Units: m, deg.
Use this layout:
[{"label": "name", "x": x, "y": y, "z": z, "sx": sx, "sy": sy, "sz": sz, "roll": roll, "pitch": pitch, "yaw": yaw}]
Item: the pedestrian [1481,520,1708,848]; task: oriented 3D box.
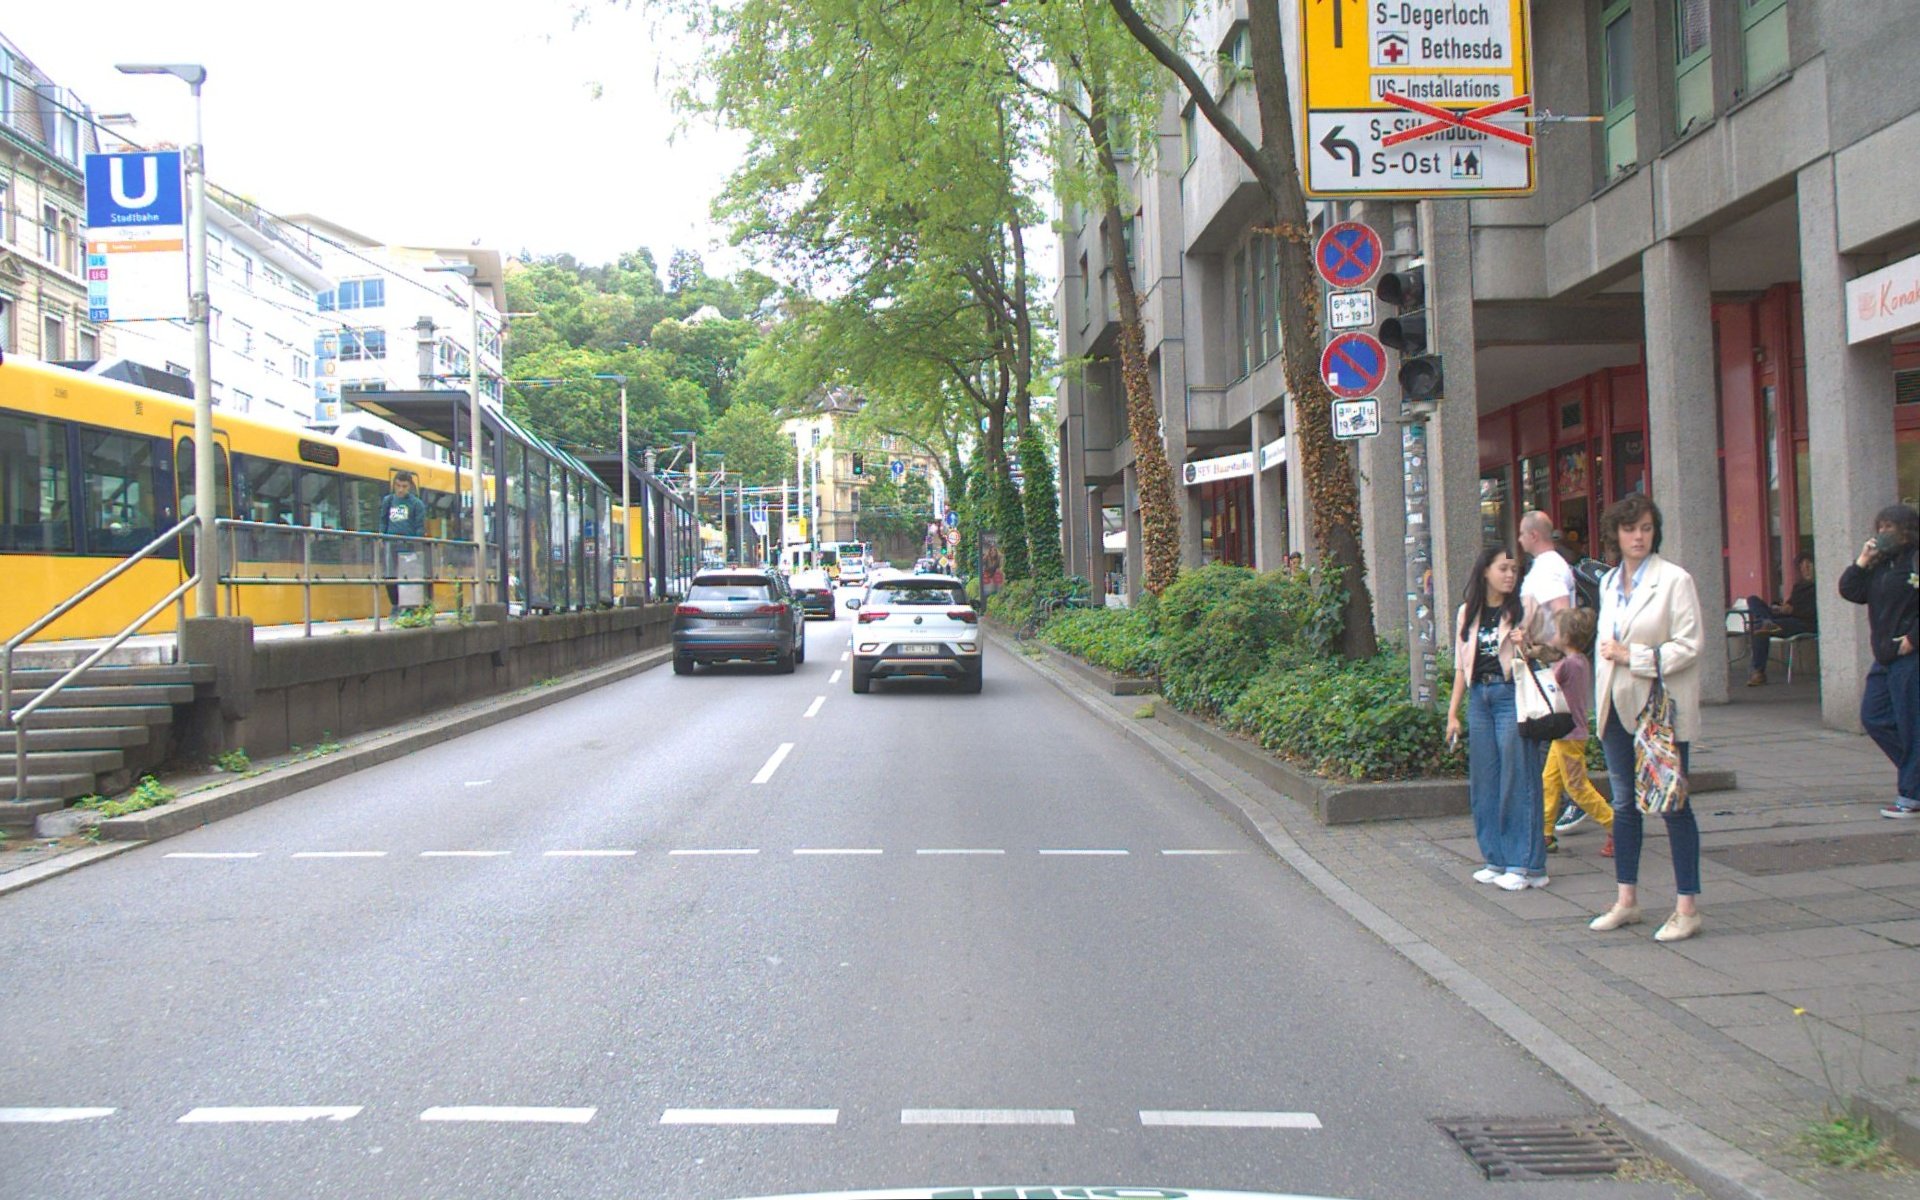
[{"label": "pedestrian", "x": 3.221, "y": 0.413, "z": 8.453, "sx": 0.819, "sy": 1.590, "sz": 0.763, "roll": 0, "pitch": -1, "yaw": -7}]

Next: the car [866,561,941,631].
[{"label": "car", "x": -1.476, "y": -0.069, "z": 42.622, "sx": 1.847, "sy": 1.713, "sz": 4.158, "roll": 0, "pitch": -1, "yaw": -3}]

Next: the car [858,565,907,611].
[{"label": "car", "x": -3.036, "y": -0.449, "z": 65.342, "sx": 1.847, "sy": 1.713, "sz": 4.159, "roll": 0, "pitch": -1, "yaw": -2}]

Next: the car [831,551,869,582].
[{"label": "car", "x": -7.832, "y": -2.393, "z": 118.263, "sx": 2.316, "sy": 2.049, "sz": 5.148, "roll": 0, "pitch": -1, "yaw": 1}]

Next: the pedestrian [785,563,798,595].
[{"label": "pedestrian", "x": -10.747, "y": -1.333, "z": 105.685, "sx": 0.746, "sy": 2.049, "sz": 0.838, "roll": 0, "pitch": -1, "yaw": -2}]

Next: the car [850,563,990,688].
[{"label": "car", "x": -0.617, "y": 0.294, "z": 23.303, "sx": 1.801, "sy": 1.611, "sz": 4.154, "roll": 0, "pitch": 1, "yaw": -3}]

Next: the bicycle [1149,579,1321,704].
[{"label": "bicycle", "x": 2.882, "y": 0.424, "z": 17.357, "sx": 1.677, "sy": 1.204, "sz": 0.447, "roll": -3, "pitch": 0, "yaw": -10}]

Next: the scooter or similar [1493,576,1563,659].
[{"label": "scooter or similar", "x": 8.182, "y": 0.249, "z": 23.848, "sx": 0.837, "sy": 1.129, "sz": 0.765, "roll": -3, "pitch": -1, "yaw": 14}]

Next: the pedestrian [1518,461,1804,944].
[{"label": "pedestrian", "x": 2.838, "y": 0.394, "z": 6.757, "sx": 0.680, "sy": 1.808, "sz": 0.688, "roll": -5, "pitch": 0, "yaw": -7}]

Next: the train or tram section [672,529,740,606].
[{"label": "train or tram section", "x": -12.805, "y": -1.590, "z": 83.830, "sx": 2.757, "sy": 3.730, "sz": 6.747, "roll": 0, "pitch": 0, "yaw": -3}]

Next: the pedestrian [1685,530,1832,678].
[{"label": "pedestrian", "x": 7.959, "y": 0.038, "z": 16.511, "sx": 1.036, "sy": 1.387, "sz": 0.755, "roll": -3, "pitch": 1, "yaw": -9}]

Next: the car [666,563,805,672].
[{"label": "car", "x": -3.640, "y": 0.242, "z": 27.468, "sx": 1.954, "sy": 1.664, "sz": 3.998, "roll": -1, "pitch": 1, "yaw": -3}]

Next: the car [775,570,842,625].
[{"label": "car", "x": -4.962, "y": -0.108, "z": 54.645, "sx": 1.873, "sy": 1.719, "sz": 4.000, "roll": 0, "pitch": 1, "yaw": 0}]

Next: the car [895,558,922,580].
[{"label": "car", "x": -4.331, "y": -2.538, "z": 137.924, "sx": 1.849, "sy": 1.713, "sz": 4.153, "roll": 0, "pitch": -1, "yaw": -8}]

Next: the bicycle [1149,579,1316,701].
[{"label": "bicycle", "x": 2.938, "y": 0.418, "z": 17.844, "sx": 1.677, "sy": 1.204, "sz": 0.447, "roll": -3, "pitch": 0, "yaw": -10}]

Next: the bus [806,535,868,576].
[{"label": "bus", "x": -10.953, "y": -3.832, "z": 145.423, "sx": 3.315, "sy": 3.118, "sz": 13.275, "roll": 0, "pitch": -1, "yaw": -14}]

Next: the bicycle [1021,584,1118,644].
[{"label": "bicycle", "x": 2.236, "y": 0.279, "z": 33.865, "sx": 1.879, "sy": 1.095, "sz": 0.612, "roll": -3, "pitch": 0, "yaw": -6}]

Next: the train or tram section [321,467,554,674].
[{"label": "train or tram section", "x": -9.768, "y": -0.524, "z": 31.587, "sx": 2.778, "sy": 3.582, "sz": 5.749, "roll": 0, "pitch": 0, "yaw": -2}]

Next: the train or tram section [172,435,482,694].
[{"label": "train or tram section", "x": -9.606, "y": -0.498, "z": 25.808, "sx": 2.778, "sy": 3.582, "sz": 5.749, "roll": 0, "pitch": 0, "yaw": -2}]

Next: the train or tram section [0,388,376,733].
[{"label": "train or tram section", "x": -9.420, "y": -0.422, "z": 20.058, "sx": 2.778, "sy": 3.582, "sz": 5.749, "roll": 0, "pitch": 0, "yaw": -2}]

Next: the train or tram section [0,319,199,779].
[{"label": "train or tram section", "x": -9.229, "y": -0.423, "z": 14.296, "sx": 2.778, "sy": 3.743, "sz": 5.749, "roll": 0, "pitch": 0, "yaw": -2}]

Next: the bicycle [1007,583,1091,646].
[{"label": "bicycle", "x": 1.752, "y": 0.276, "z": 32.622, "sx": 1.587, "sy": 1.147, "sz": 0.613, "roll": -3, "pitch": 0, "yaw": 1}]

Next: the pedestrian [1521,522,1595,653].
[{"label": "pedestrian", "x": 8.294, "y": -0.187, "z": 22.954, "sx": 0.746, "sy": 1.752, "sz": 0.677, "roll": -3, "pitch": 2, "yaw": 2}]

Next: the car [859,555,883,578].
[{"label": "car", "x": -7.194, "y": -2.721, "z": 133.363, "sx": 1.847, "sy": 1.713, "sz": 4.159, "roll": 0, "pitch": -1, "yaw": -2}]

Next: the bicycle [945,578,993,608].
[{"label": "bicycle", "x": 0.360, "y": -0.274, "z": 66.046, "sx": 1.841, "sy": 1.157, "sz": 0.808, "roll": 0, "pitch": -1, "yaw": 3}]

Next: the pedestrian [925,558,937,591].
[{"label": "pedestrian", "x": -1.840, "y": -1.621, "z": 104.802, "sx": 0.746, "sy": 2.049, "sz": 0.838, "roll": 0, "pitch": -1, "yaw": 3}]

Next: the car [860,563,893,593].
[{"label": "car", "x": -5.075, "y": -1.338, "z": 101.075, "sx": 1.846, "sy": 1.713, "sz": 4.160, "roll": 0, "pitch": -1, "yaw": 0}]

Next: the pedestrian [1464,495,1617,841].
[{"label": "pedestrian", "x": 3.185, "y": 0.360, "z": 9.128, "sx": 0.508, "sy": 1.820, "sz": 0.763, "roll": 0, "pitch": -1, "yaw": -6}]

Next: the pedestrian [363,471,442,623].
[{"label": "pedestrian", "x": -6.560, "y": -0.612, "z": 19.477, "sx": 0.703, "sy": 1.761, "sz": 0.670, "roll": 0, "pitch": -1, "yaw": -1}]

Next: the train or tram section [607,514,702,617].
[{"label": "train or tram section", "x": -11.605, "y": -1.265, "z": 63.447, "sx": 2.757, "sy": 3.730, "sz": 6.747, "roll": 0, "pitch": 0, "yaw": -3}]

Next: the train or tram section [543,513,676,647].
[{"label": "train or tram section", "x": -10.354, "y": -0.579, "z": 49.503, "sx": 2.756, "sy": 3.730, "sz": 6.749, "roll": 0, "pitch": 0, "yaw": -2}]

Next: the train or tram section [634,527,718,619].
[{"label": "train or tram section", "x": -12.000, "y": -1.108, "z": 70.327, "sx": 2.757, "sy": 3.730, "sz": 6.747, "roll": 0, "pitch": 0, "yaw": -3}]

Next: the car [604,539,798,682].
[{"label": "car", "x": -3.949, "y": 0.181, "z": 26.201, "sx": 2.316, "sy": 2.049, "sz": 5.147, "roll": 0, "pitch": -1, "yaw": -1}]

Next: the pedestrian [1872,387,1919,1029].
[{"label": "pedestrian", "x": 3.227, "y": 0.317, "z": 4.772, "sx": 0.719, "sy": 1.907, "sz": 0.732, "roll": -1, "pitch": -1, "yaw": -7}]

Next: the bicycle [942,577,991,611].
[{"label": "bicycle", "x": 0.254, "y": -0.235, "z": 64.548, "sx": 1.841, "sy": 1.288, "sz": 0.765, "roll": 0, "pitch": -1, "yaw": 8}]

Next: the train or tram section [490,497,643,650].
[{"label": "train or tram section", "x": -10.138, "y": -0.655, "z": 43.177, "sx": 2.756, "sy": 3.730, "sz": 5.900, "roll": 0, "pitch": 0, "yaw": -2}]

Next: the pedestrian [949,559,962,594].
[{"label": "pedestrian", "x": -0.255, "y": -1.413, "z": 100.124, "sx": 0.746, "sy": 2.049, "sz": 0.838, "roll": 0, "pitch": -1, "yaw": 3}]

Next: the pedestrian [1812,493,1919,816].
[{"label": "pedestrian", "x": 5.097, "y": 0.254, "z": 8.848, "sx": 0.604, "sy": 1.640, "sz": 0.763, "roll": -3, "pitch": 2, "yaw": -6}]

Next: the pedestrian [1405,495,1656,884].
[{"label": "pedestrian", "x": 2.718, "y": 0.404, "z": 7.955, "sx": 0.820, "sy": 1.733, "sz": 0.763, "roll": -3, "pitch": 0, "yaw": -7}]

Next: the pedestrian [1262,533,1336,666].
[{"label": "pedestrian", "x": 4.803, "y": -0.027, "z": 23.465, "sx": 0.747, "sy": 1.813, "sz": 0.847, "roll": -3, "pitch": 2, "yaw": -8}]
